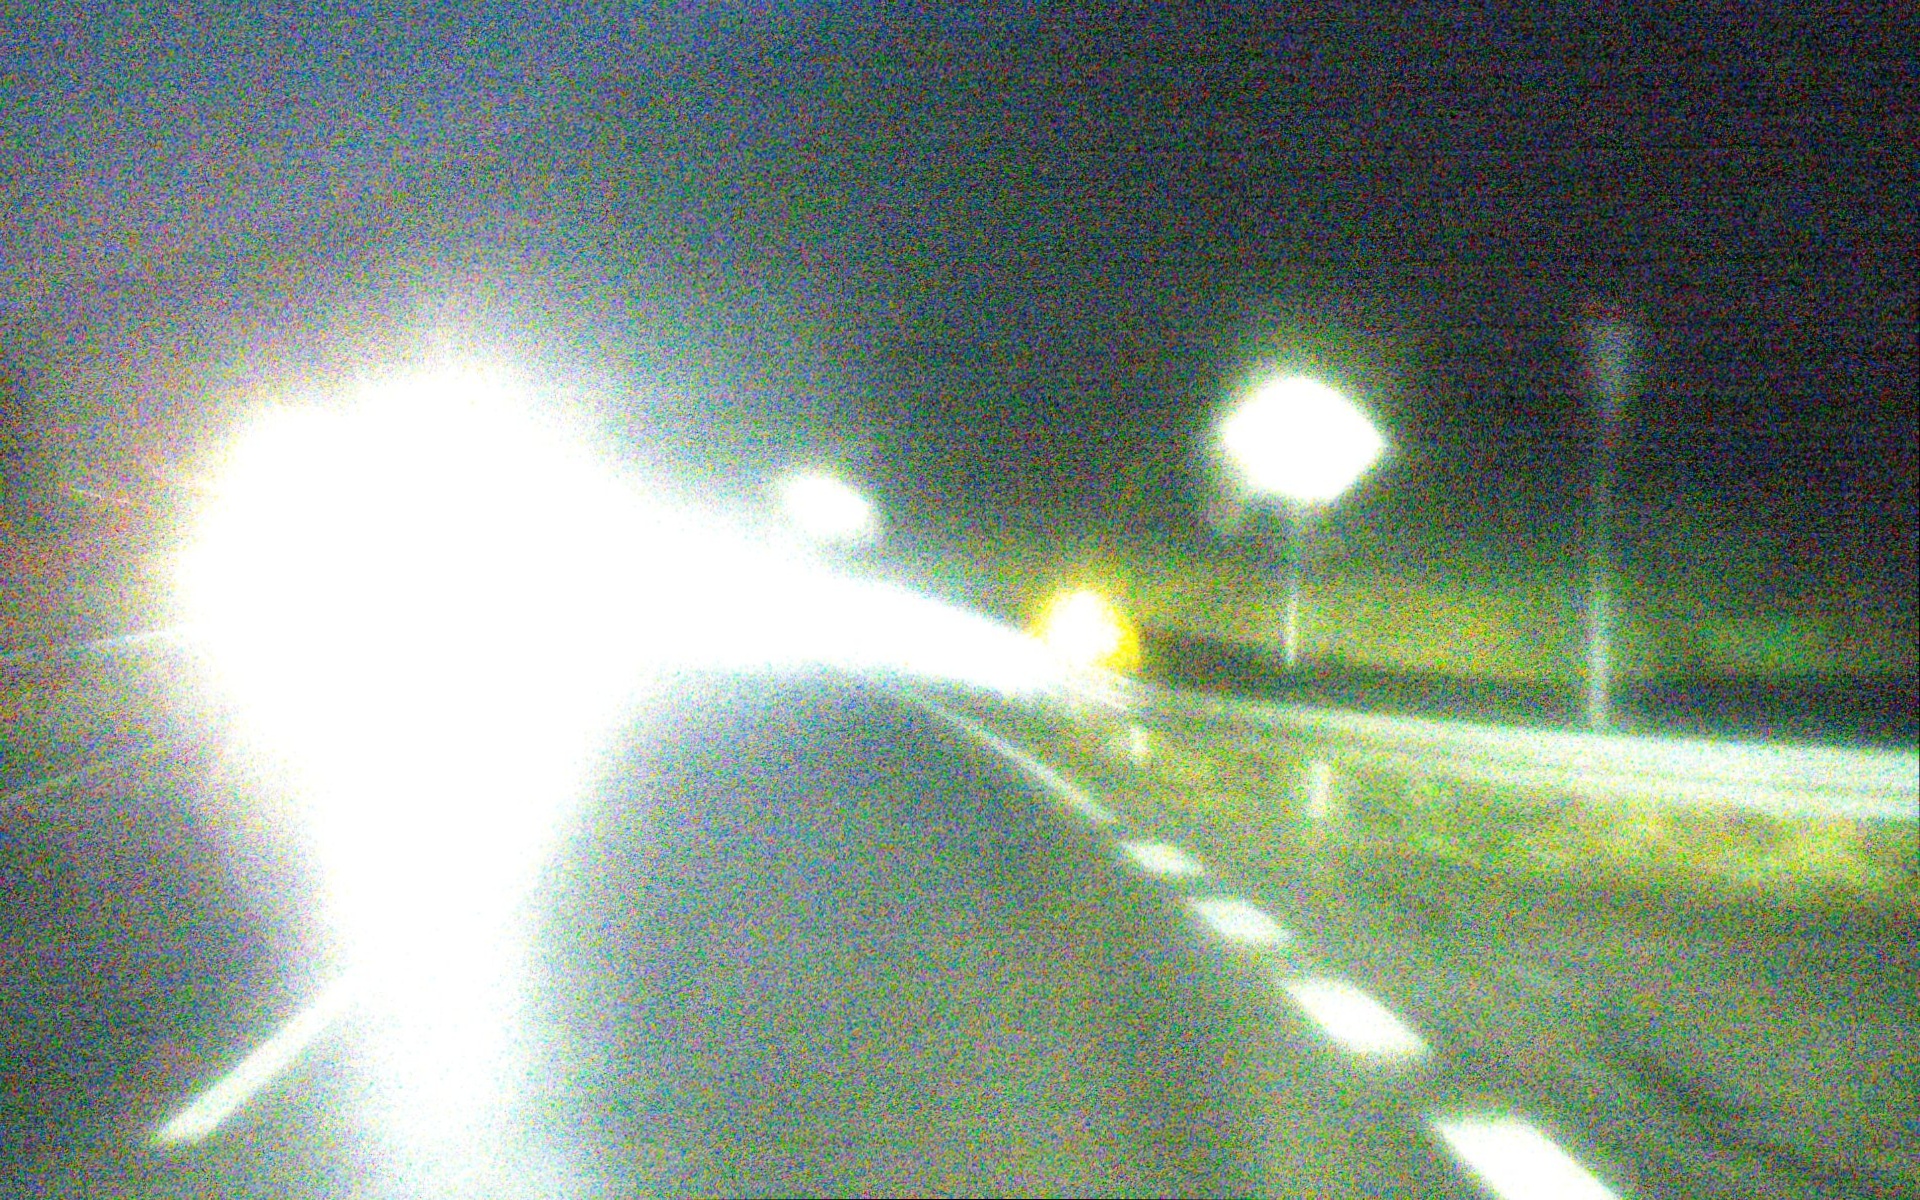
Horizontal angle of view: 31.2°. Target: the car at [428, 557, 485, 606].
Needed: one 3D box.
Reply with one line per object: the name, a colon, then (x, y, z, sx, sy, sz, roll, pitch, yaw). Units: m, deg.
car: (-15.841, -0.604, 108.026, 1.701, 1.501, 3.684, 0, 1, -9)
